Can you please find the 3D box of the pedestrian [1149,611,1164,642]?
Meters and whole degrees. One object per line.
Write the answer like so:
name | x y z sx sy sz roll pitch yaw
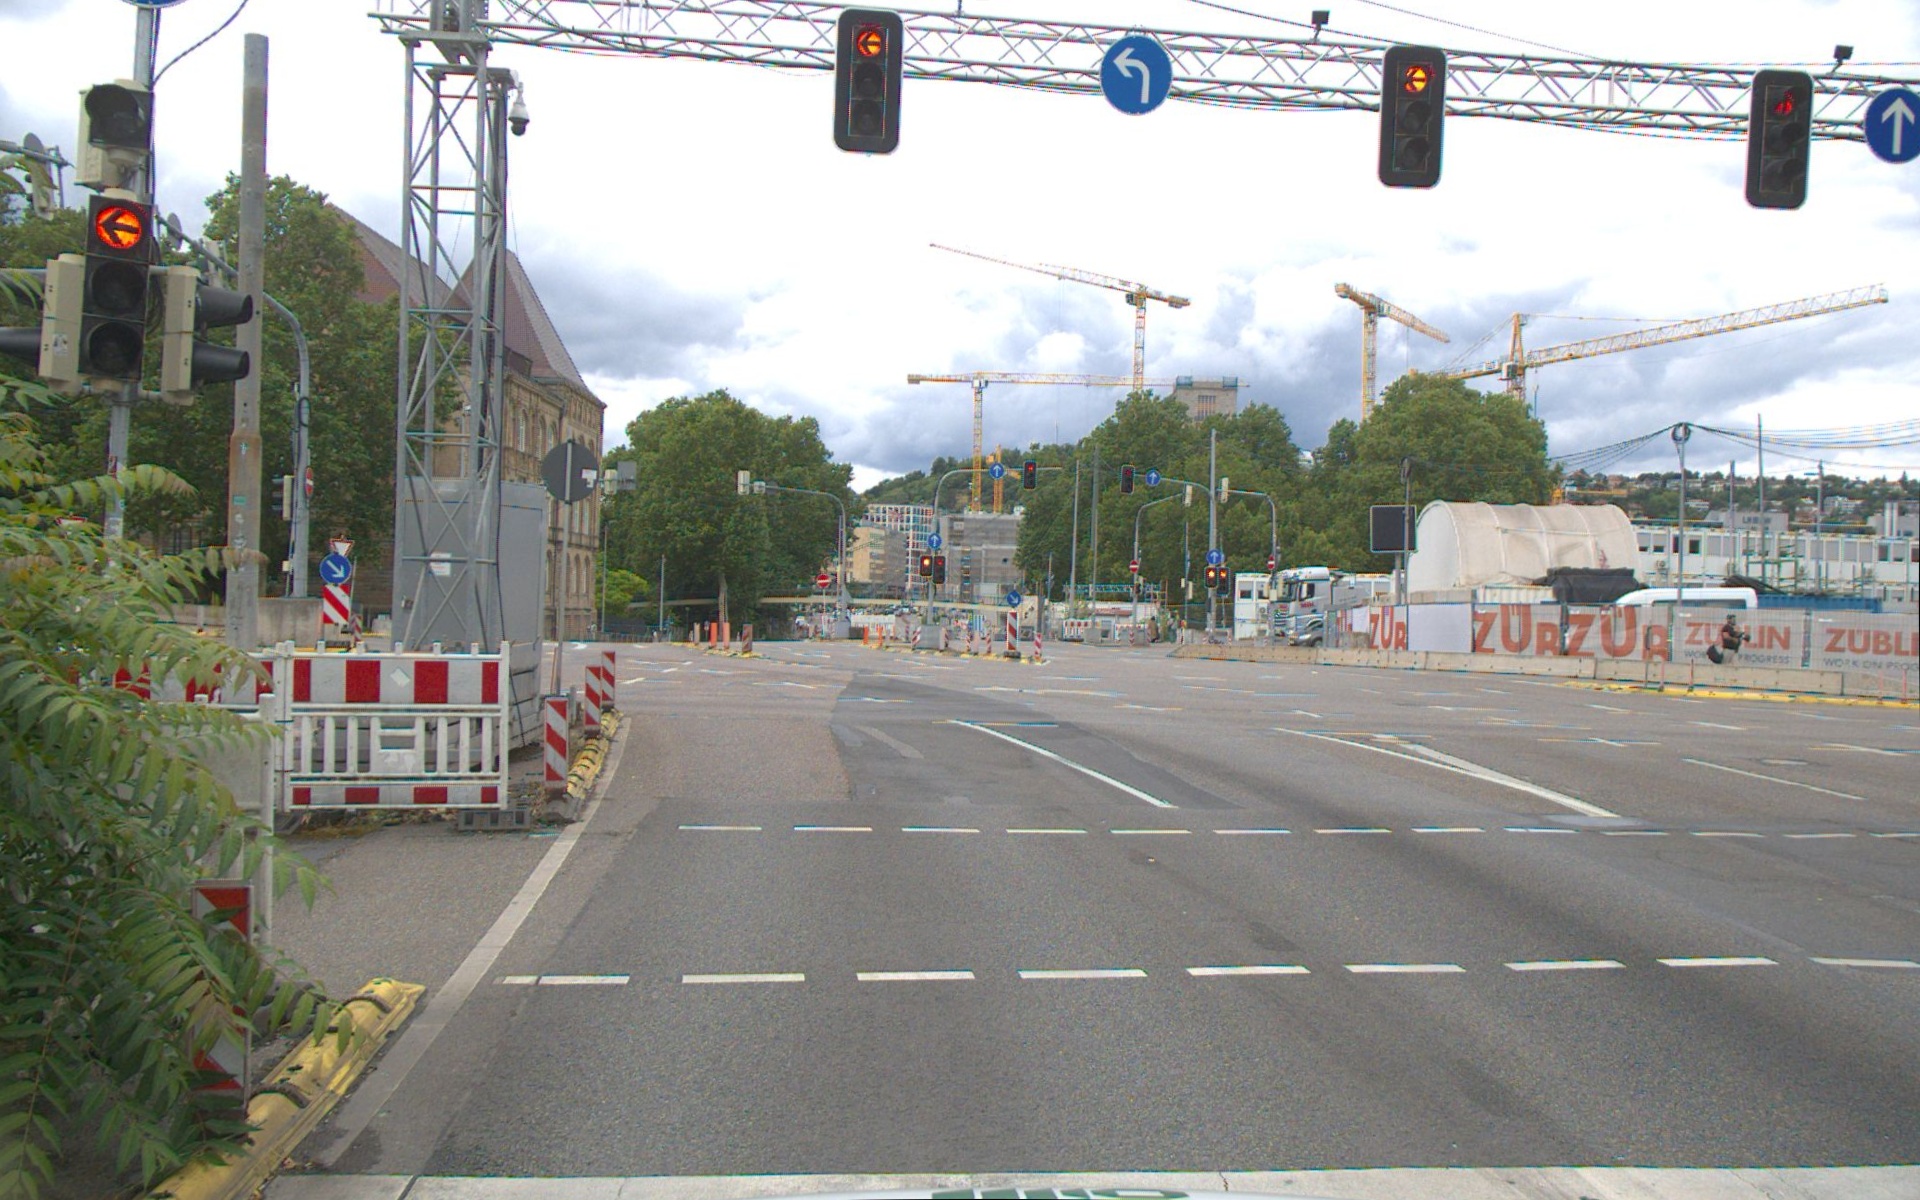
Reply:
pedestrian | 11.088 1.473 93.135 0.714 1.718 0.677 2 0 -1

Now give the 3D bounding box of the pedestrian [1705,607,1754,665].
pedestrian | 19.272 0.895 41.415 0.889 1.402 0.794 2 0 42

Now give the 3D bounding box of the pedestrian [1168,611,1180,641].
pedestrian | 12.046 1.464 93.228 0.555 1.718 0.471 2 0 -1

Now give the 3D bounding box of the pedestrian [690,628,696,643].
pedestrian | -28.351 3.798 175.840 0.525 1.620 0.515 1 0 -5

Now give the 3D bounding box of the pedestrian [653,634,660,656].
pedestrian | -28.236 4.159 153.687 0.513 2.049 0.566 1 0 -1

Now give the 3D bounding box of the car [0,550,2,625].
car | -19.704 -0.128 29.338 4.239 1.705 1.993 2 0 -14

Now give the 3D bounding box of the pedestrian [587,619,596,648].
pedestrian | -26.393 2.383 118.485 0.513 2.049 0.566 1 0 -1

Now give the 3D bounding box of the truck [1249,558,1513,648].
truck | 20.996 0.168 82.312 12.837 4.111 3.927 1 0 -21

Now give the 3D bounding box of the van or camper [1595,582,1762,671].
van or camper | 20.730 0.742 47.903 4.123 2.398 2.001 1 0 14

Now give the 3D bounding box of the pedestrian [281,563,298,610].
pedestrian | -29.520 -0.612 72.851 0.523 2.049 0.421 2 0 -44

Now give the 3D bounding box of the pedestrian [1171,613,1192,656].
pedestrian | 9.066 1.407 67.595 0.714 1.718 0.677 2 0 -1
